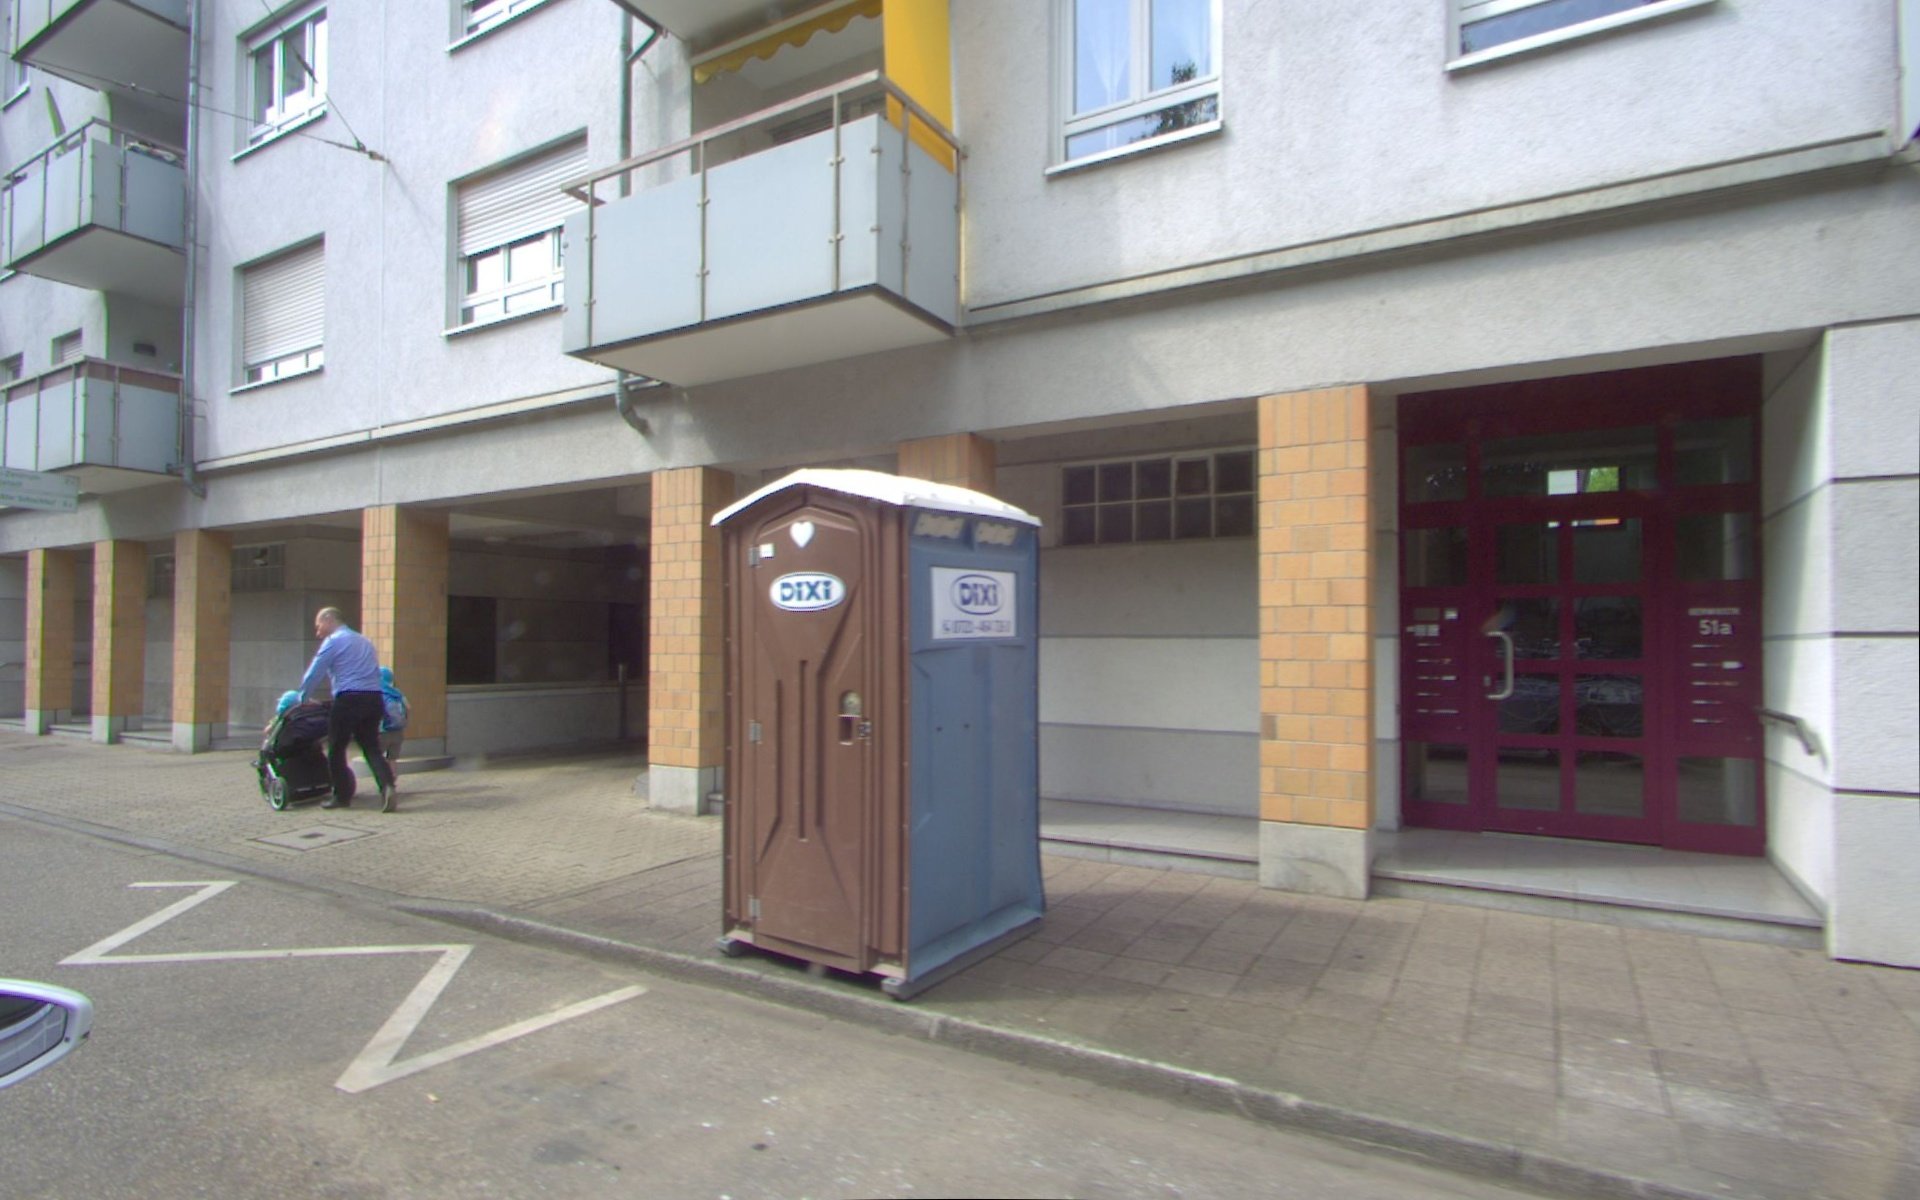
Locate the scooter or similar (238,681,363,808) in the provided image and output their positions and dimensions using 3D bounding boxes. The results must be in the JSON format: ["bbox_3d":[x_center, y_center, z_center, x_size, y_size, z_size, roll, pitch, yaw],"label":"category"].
[{"bbox_3d":[-5.970,1.281,9.069,0.893,1.016,0.591,-1,2,32],"label":"scooter or similar"}]

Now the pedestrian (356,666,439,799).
[{"bbox_3d":[-5.217,1.206,9.294,0.487,1.150,0.455,-1,2,32],"label":"pedestrian"}]

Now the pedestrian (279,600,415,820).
[{"bbox_3d":[-5.244,0.899,8.572,0.865,1.762,0.619,-1,2,32],"label":"pedestrian"}]
